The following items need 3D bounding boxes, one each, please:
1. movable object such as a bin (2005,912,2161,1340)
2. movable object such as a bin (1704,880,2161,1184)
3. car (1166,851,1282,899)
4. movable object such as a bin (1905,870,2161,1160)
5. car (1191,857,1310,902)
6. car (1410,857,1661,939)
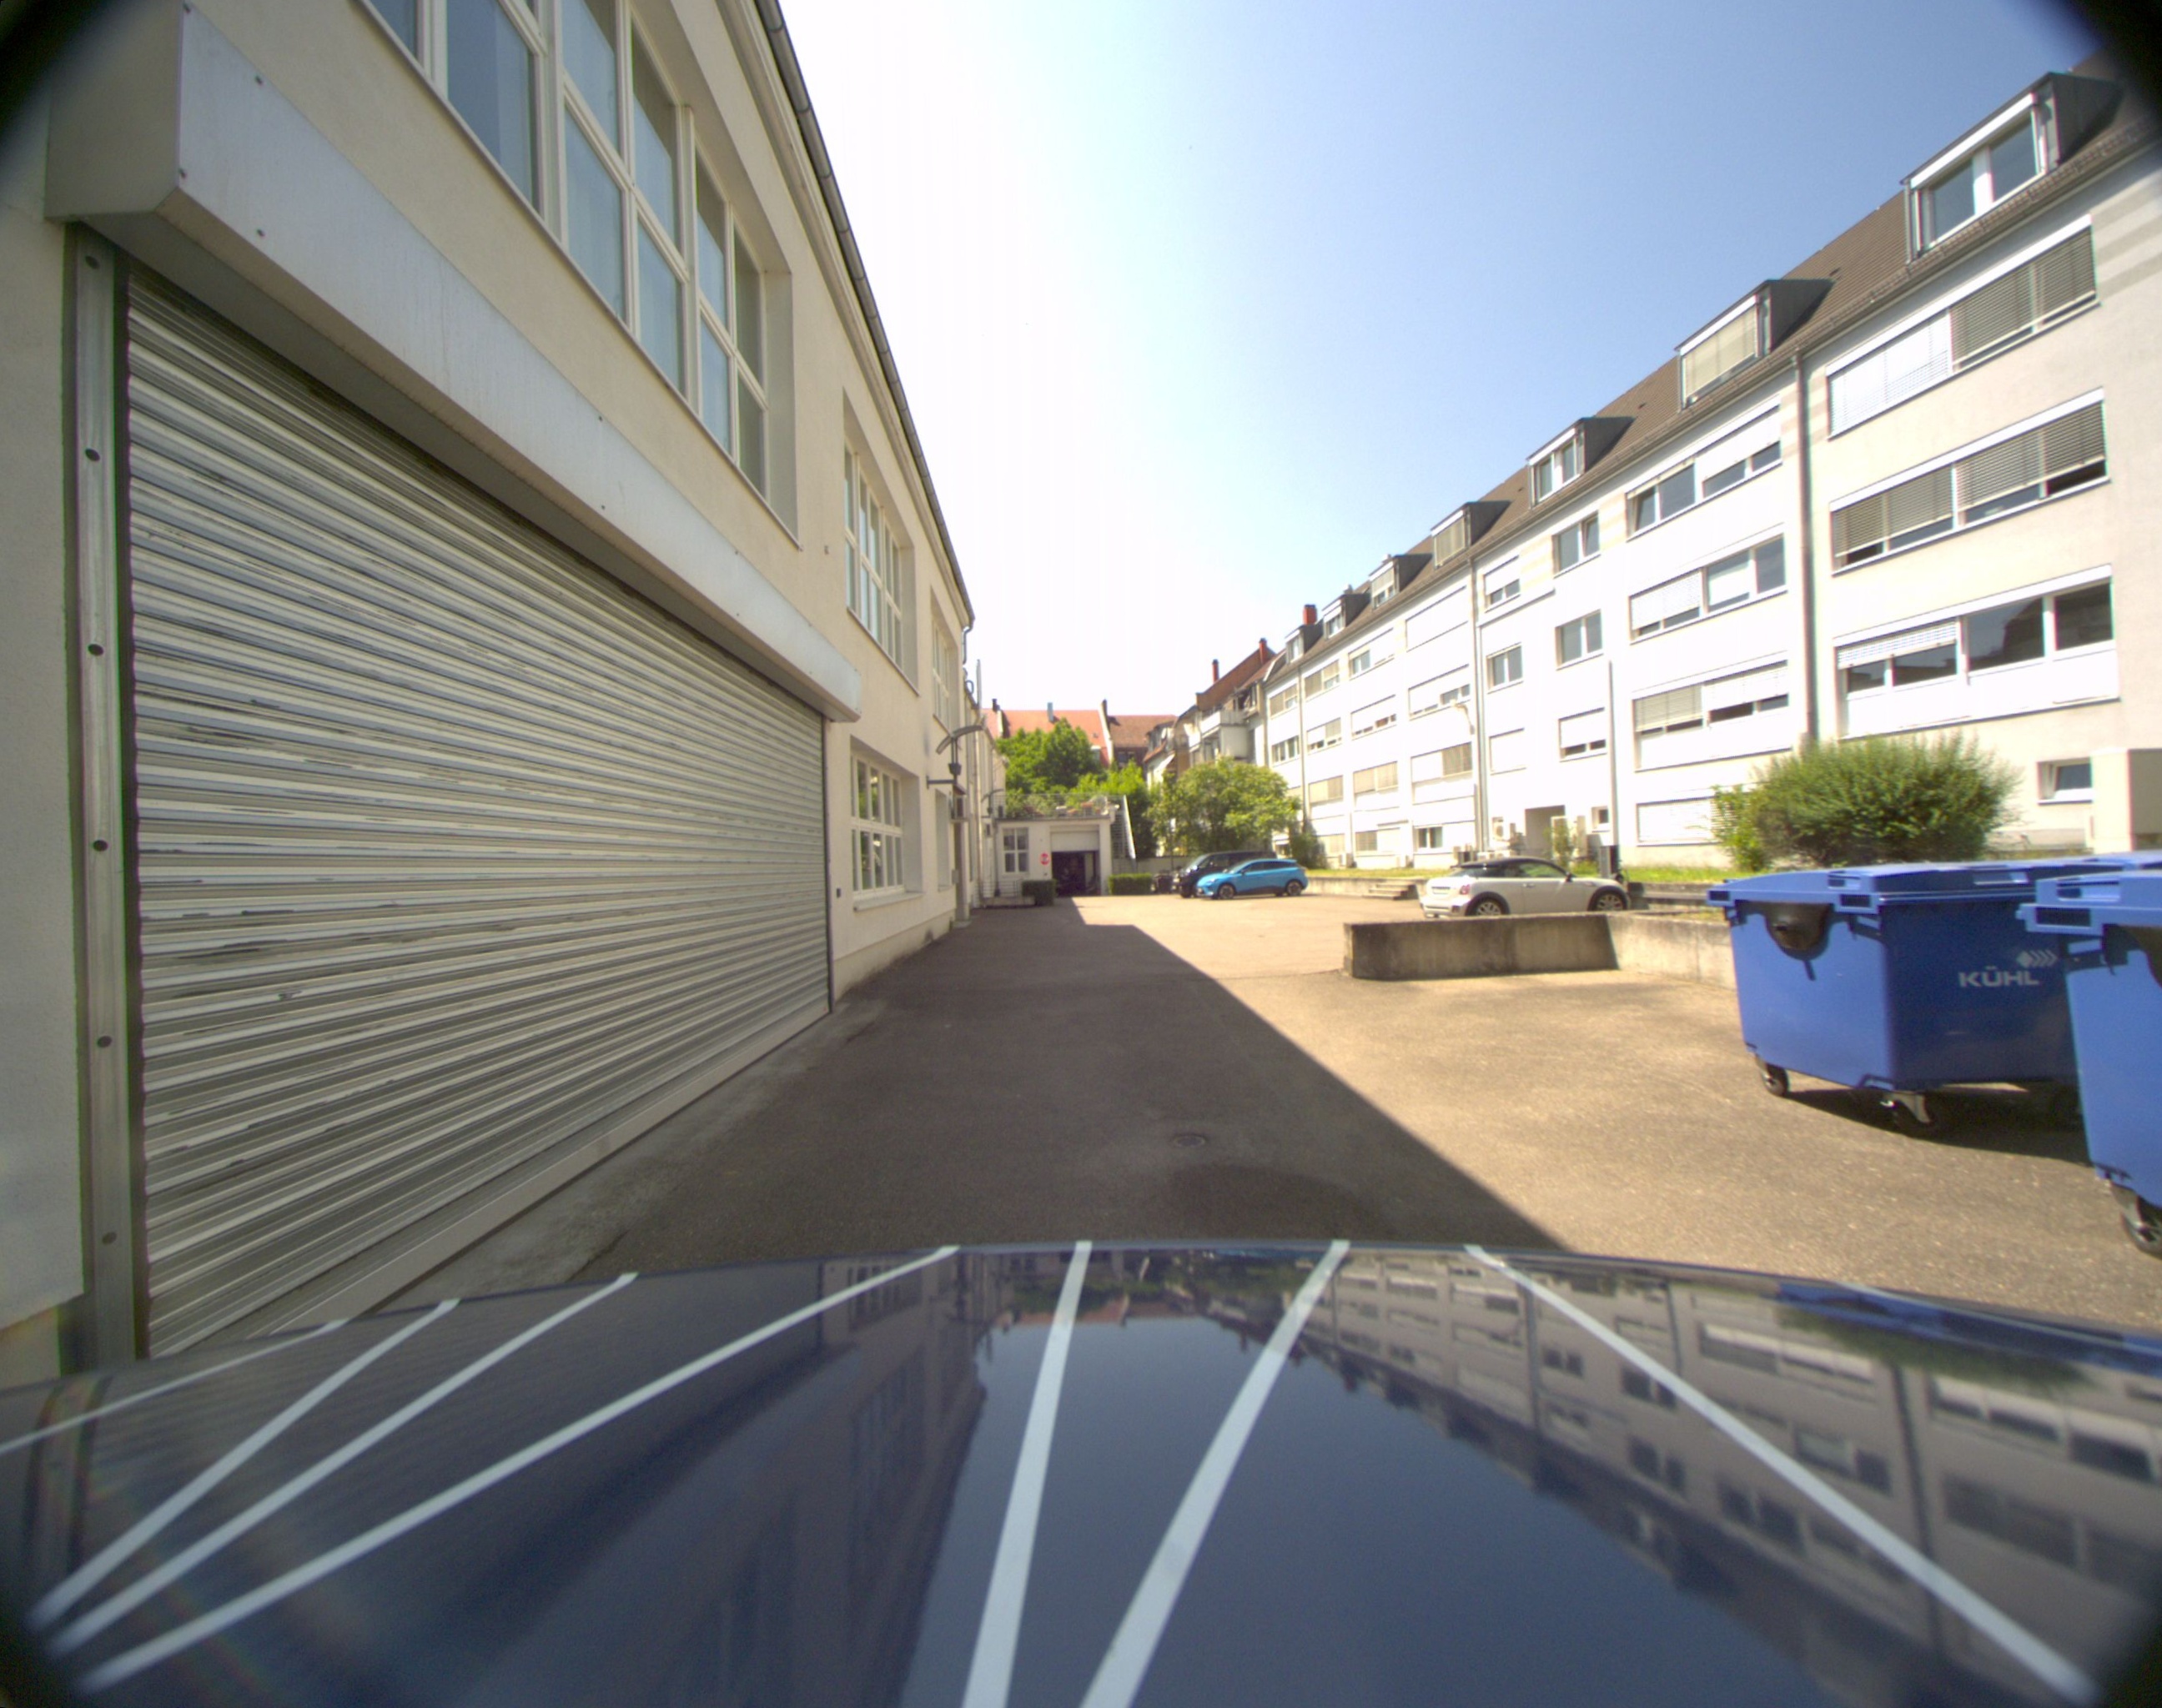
[{"bbox_3d":[4.056,0.864,2.254,1.257,1.320,1.104,-2,0,-2],"label":"movable object such as a bin"},{"bbox_3d":[4.425,0.833,4.049,1.257,1.320,1.104,-2,0,-2],"label":"movable object such as a bin"},{"bbox_3d":[6.088,0.886,32.672,4.450,1.821,1.999,-2,0,-5],"label":"car"},{"bbox_3d":[5.735,0.780,4.141,1.257,1.320,1.104,-2,0,-2],"label":"movable object such as a bin"},{"bbox_3d":[6.662,0.975,30.027,4.169,1.544,1.858,-2,0,-7],"label":"car"},{"bbox_3d":[8.834,0.821,14.952,3.999,1.428,1.710,-1,0,-6],"label":"car"}]
